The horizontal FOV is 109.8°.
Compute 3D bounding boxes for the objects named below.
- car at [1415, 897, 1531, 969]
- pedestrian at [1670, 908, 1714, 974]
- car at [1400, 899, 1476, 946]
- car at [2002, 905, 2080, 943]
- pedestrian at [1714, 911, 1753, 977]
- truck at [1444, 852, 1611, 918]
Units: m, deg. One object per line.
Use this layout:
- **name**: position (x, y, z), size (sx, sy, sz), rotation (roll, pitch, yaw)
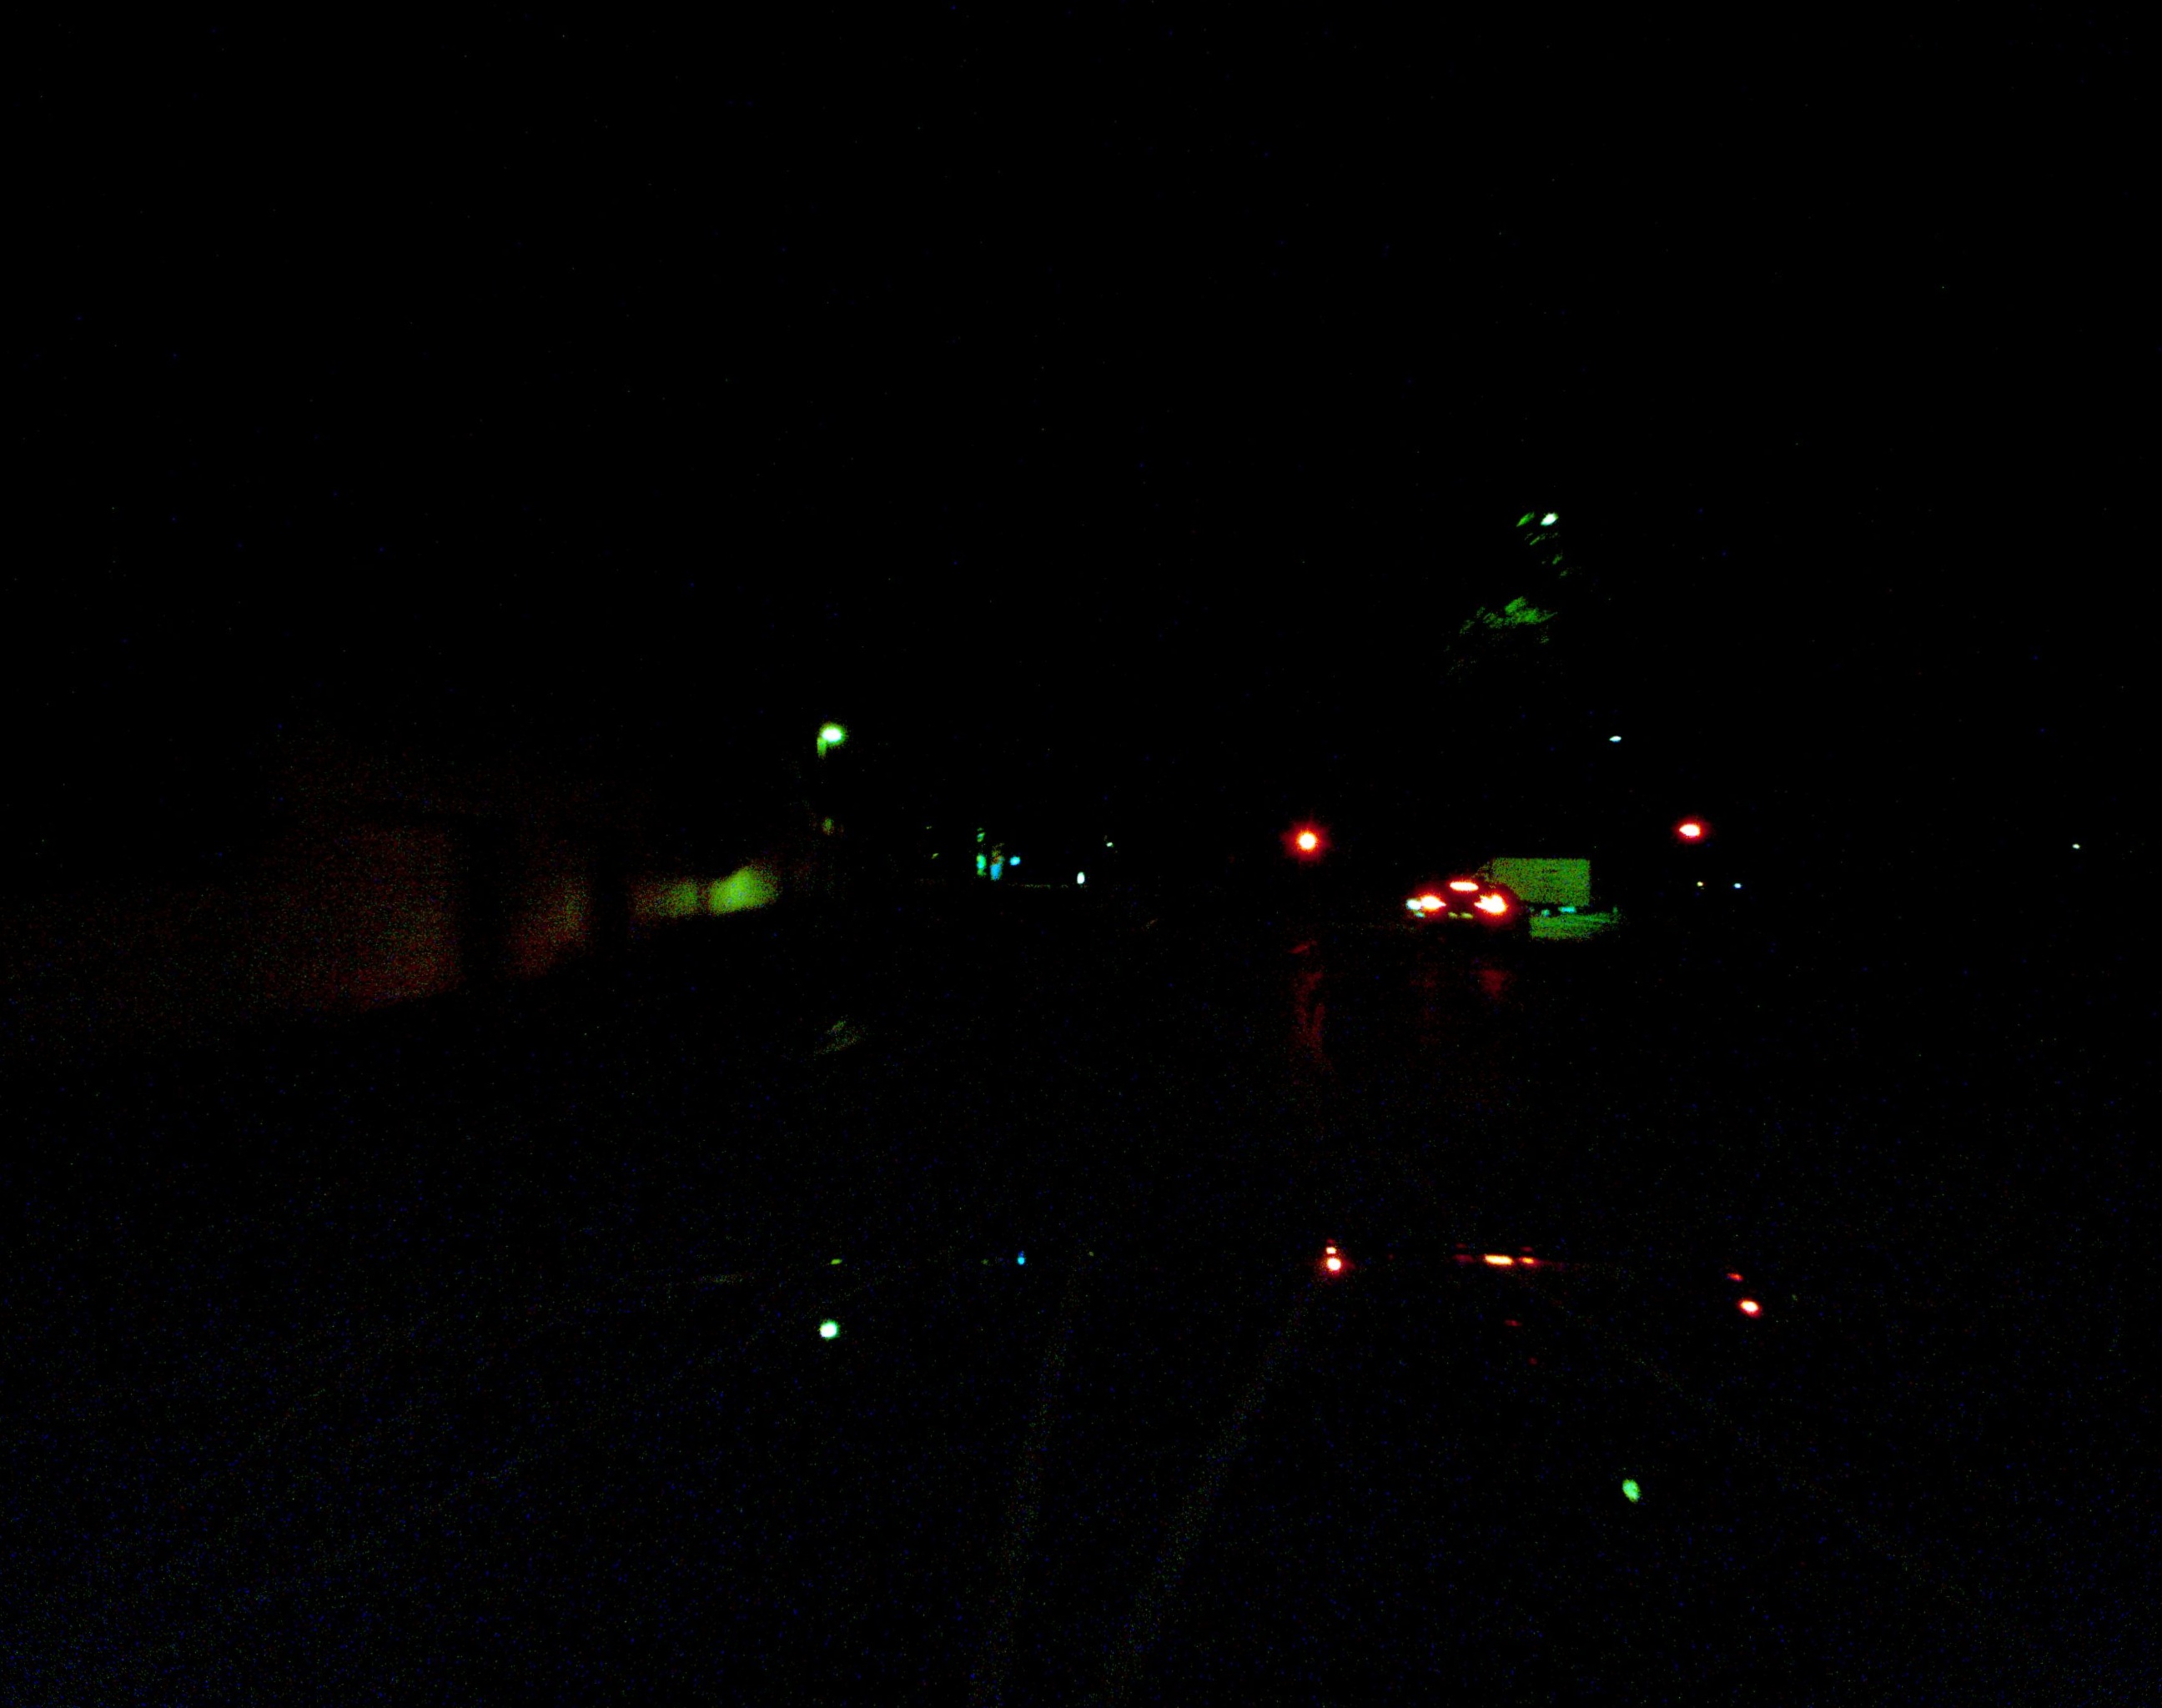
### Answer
- **car**: position (9.339, 1.828, 17.907), size (1.726, 1.420, 4.302), rotation (0, -4, 37)
- **pedestrian**: position (17.071, 2.412, 21.215), size (0.967, 1.758, 0.726), rotation (4, -1, -41)
- **car**: position (12.844, 2.441, 27.276), size (1.509, 1.492, 3.058), rotation (2, -2, 44)
- **car**: position (44.143, 3.178, 34.931), size (4.264, 1.546, 2.048), rotation (3, -2, -36)
- **pedestrian**: position (18.187, 2.500, 21.178), size (0.694, 1.781, 0.522), rotation (4, -1, -26)
- **truck**: position (23.291, 1.489, 39.905), size (7.014, 3.027, 2.779), rotation (2, 2, 45)
